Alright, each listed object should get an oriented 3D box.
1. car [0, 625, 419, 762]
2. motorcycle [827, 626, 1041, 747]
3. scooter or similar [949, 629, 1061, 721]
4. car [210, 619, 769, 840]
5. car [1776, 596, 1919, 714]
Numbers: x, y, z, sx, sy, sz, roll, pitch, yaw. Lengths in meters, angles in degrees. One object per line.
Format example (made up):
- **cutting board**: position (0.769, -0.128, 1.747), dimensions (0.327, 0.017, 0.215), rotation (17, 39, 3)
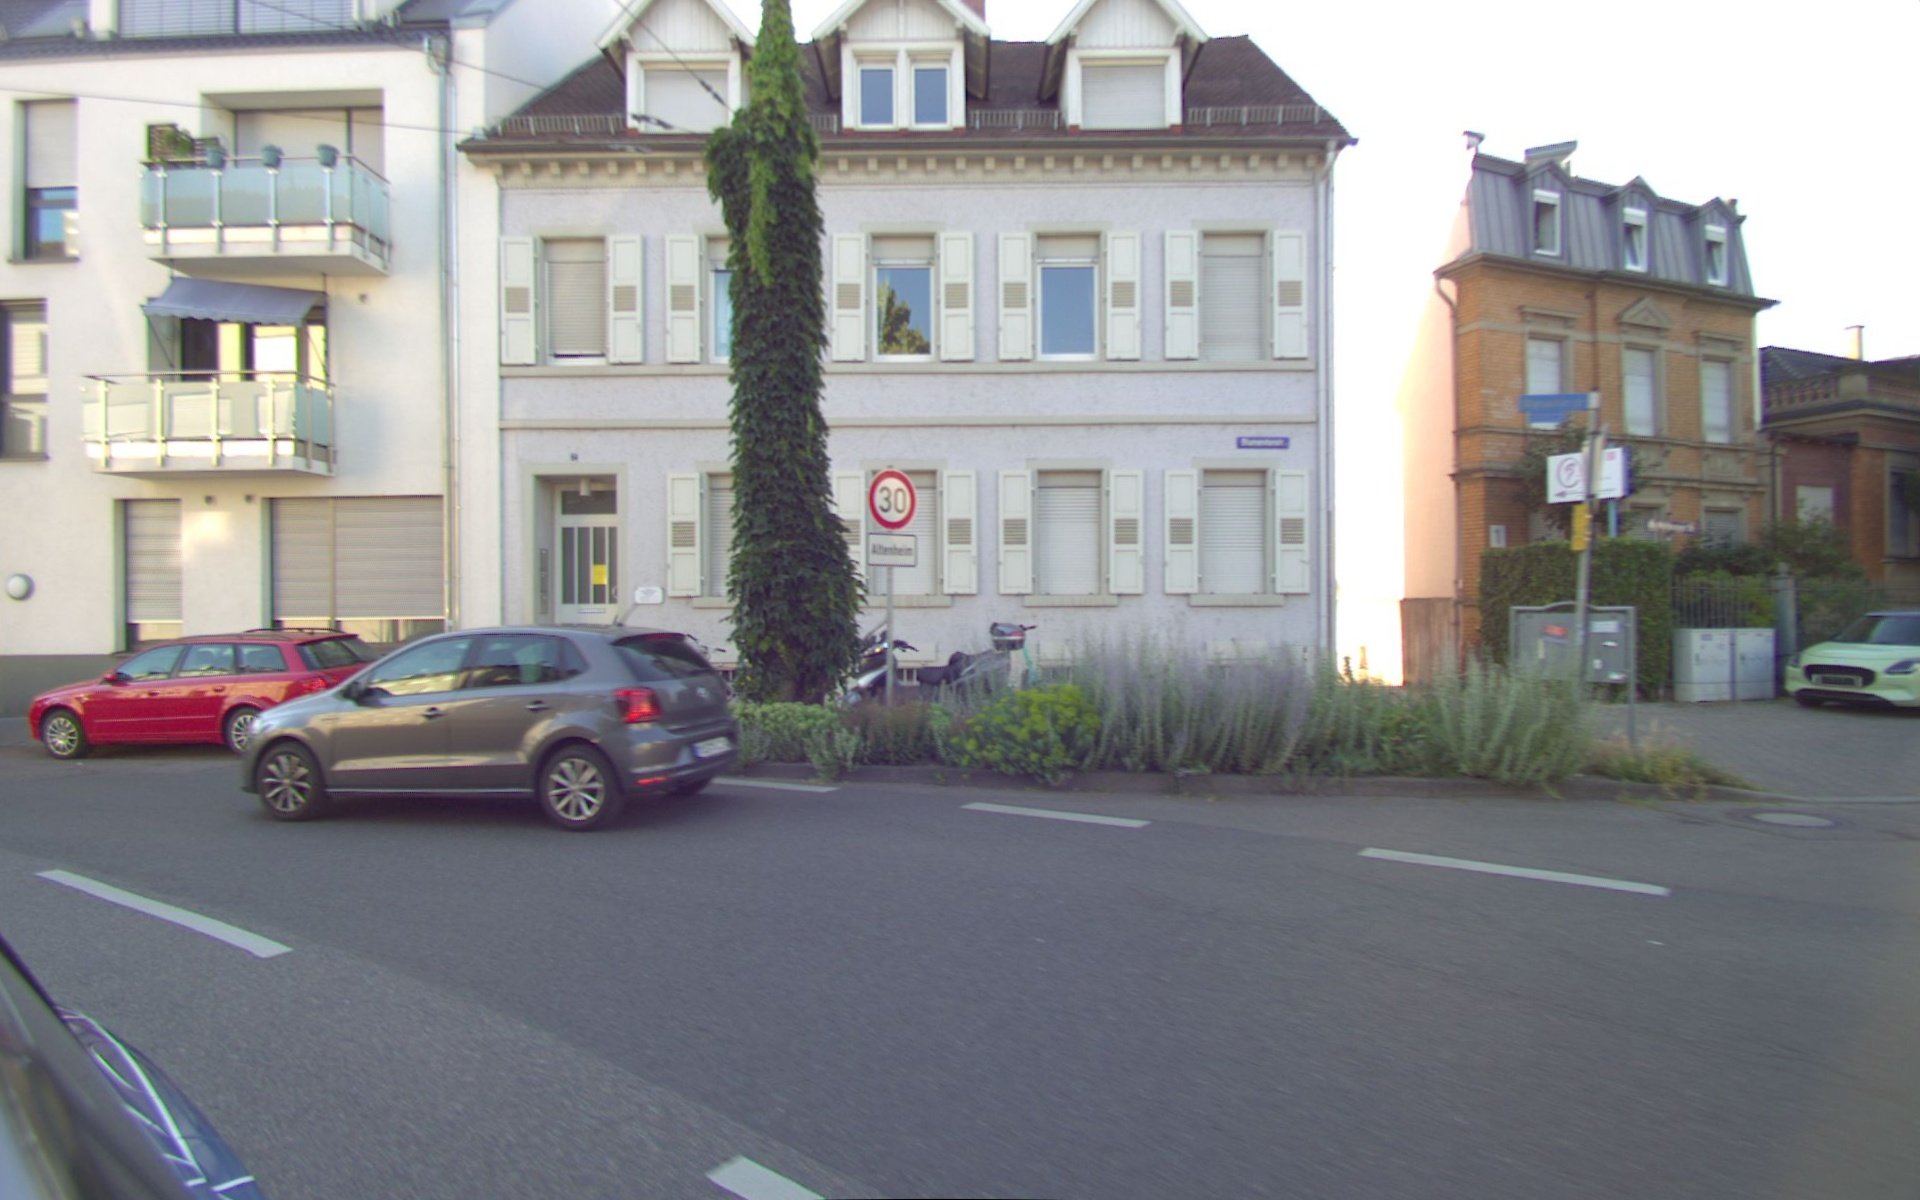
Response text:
- **car**: position (-9.470, 1.144, 12.770), dimensions (4.540, 1.477, 1.710), rotation (-2, 1, 9)
- **motorcycle**: position (-0.354, 1.028, 12.523), dimensions (2.523, 1.368, 0.936), rotation (-1, 0, -9)
- **scooter or similar**: position (0.646, 1.058, 14.578), dimensions (1.515, 1.238, 0.511), rotation (-1, 0, -15)
- **car**: position (-3.540, 0.913, 7.828), dimensions (3.703, 1.414, 1.709), rotation (-2, -3, 15)
- **car**: position (14.167, 0.718, 14.774), dimensions (3.842, 1.548, 1.820), rotation (-1, 0, -21)
